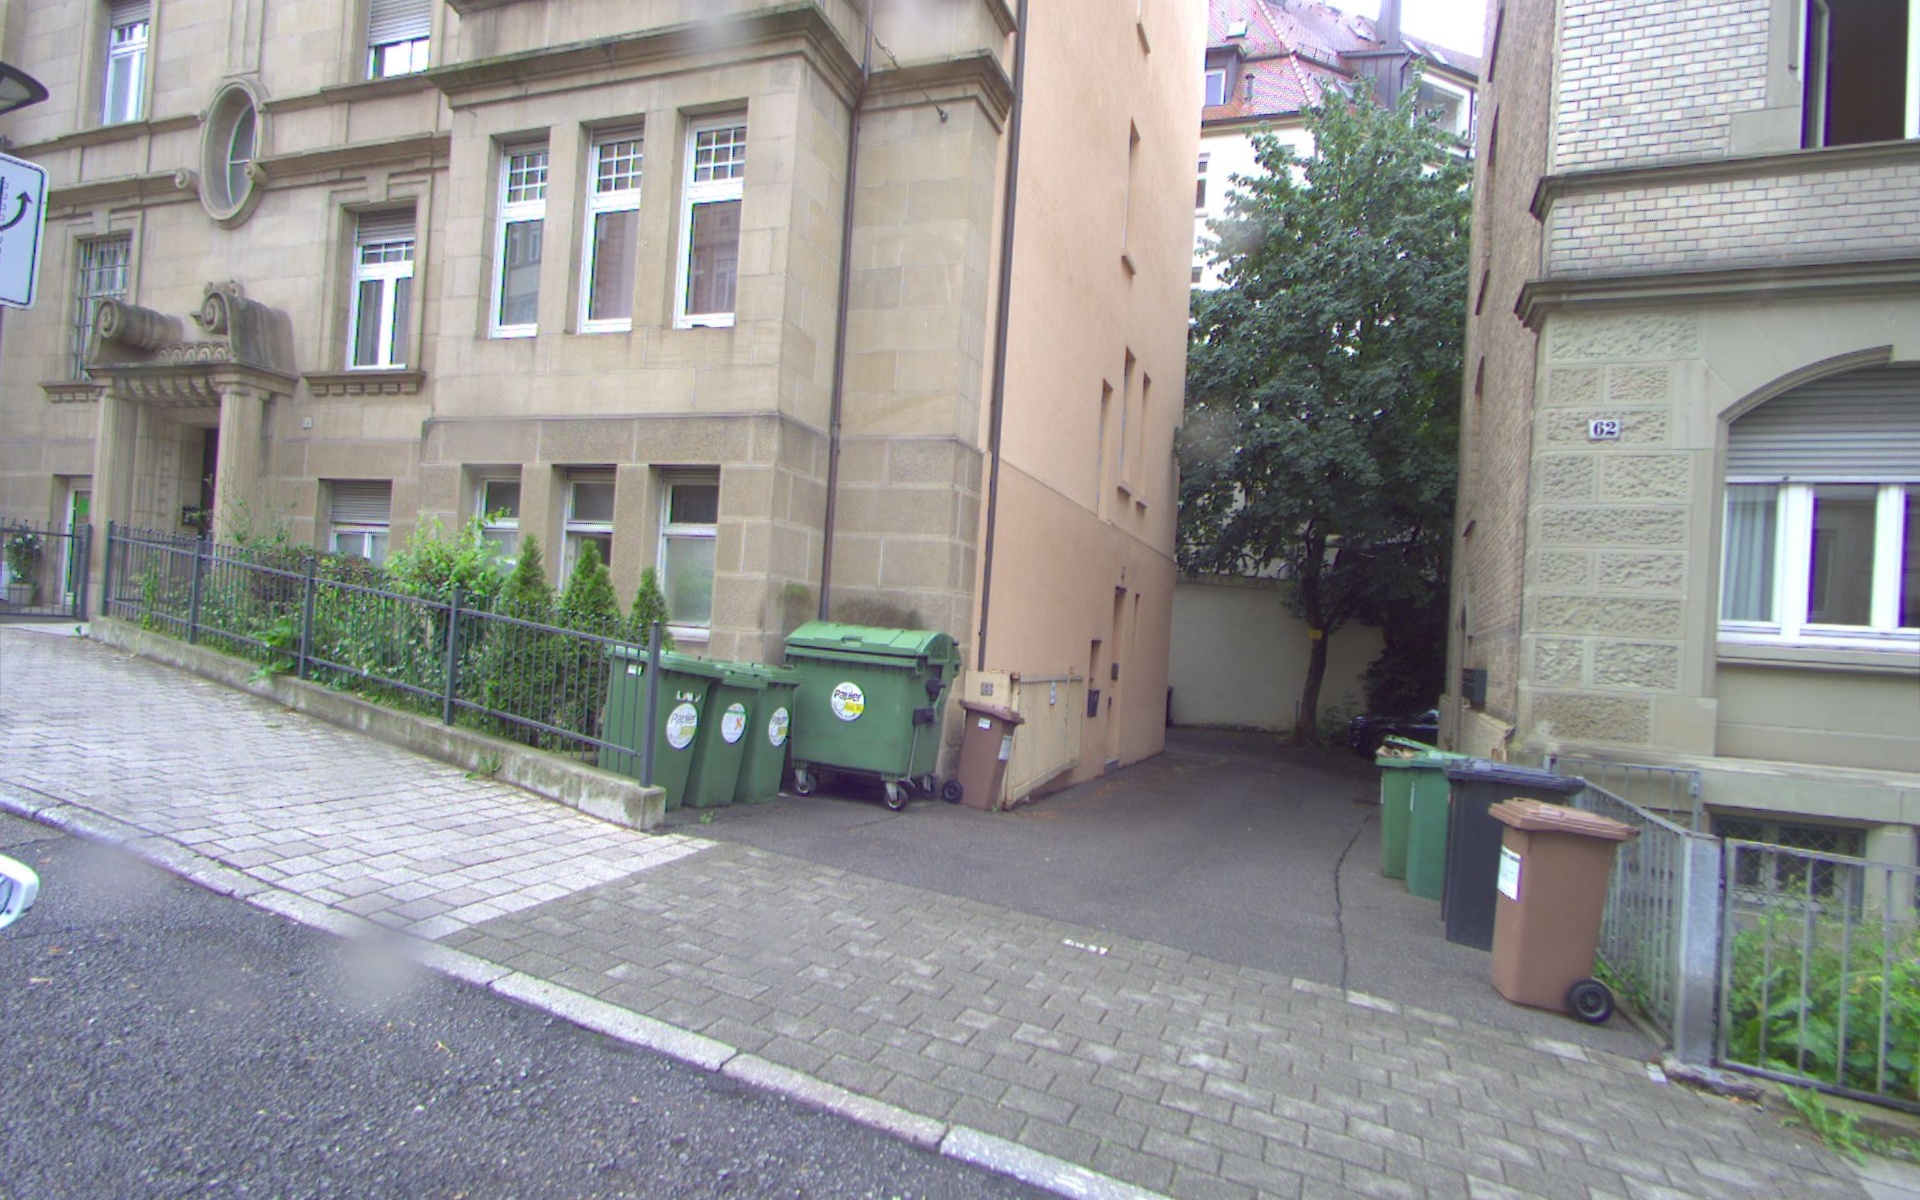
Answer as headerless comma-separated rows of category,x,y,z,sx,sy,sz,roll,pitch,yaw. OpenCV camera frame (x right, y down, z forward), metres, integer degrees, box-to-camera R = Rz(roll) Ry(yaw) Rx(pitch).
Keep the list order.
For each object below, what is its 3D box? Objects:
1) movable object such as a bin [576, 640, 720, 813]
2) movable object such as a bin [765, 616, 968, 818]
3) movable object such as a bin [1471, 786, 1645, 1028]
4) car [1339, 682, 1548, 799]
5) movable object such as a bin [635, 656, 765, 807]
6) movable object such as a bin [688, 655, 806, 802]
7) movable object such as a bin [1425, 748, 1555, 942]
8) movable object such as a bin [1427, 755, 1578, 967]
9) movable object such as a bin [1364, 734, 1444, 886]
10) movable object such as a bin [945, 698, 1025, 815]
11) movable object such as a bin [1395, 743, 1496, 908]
movable object such as a bin,-2.083,0.841,6.766,0.593,1.037,0.540,6,-4,20
movable object such as a bin,-0.761,0.968,8.488,1.256,1.447,0.976,6,-4,20
movable object such as a bin,2.798,1.416,4.750,0.527,0.932,0.427,7,2,20
car,10.980,3.117,22.983,3.930,1.530,1.796,13,5,28
movable object such as a bin,-1.878,0.948,7.308,0.593,0.978,0.540,6,-4,20
movable object such as a bin,-1.667,1.003,7.917,0.593,1.037,0.540,6,-4,20
movable object such as a bin,3.371,1.533,6.437,0.598,1.072,0.501,6,-3,24
movable object such as a bin,3.147,1.476,5.853,0.653,1.041,0.529,6,-4,30
movable object such as a bin,3.583,1.674,8.143,0.469,1.113,0.521,6,-3,23
movable object such as a bin,0.227,1.387,8.983,0.510,0.952,0.395,6,-4,20
movable object such as a bin,3.558,1.634,7.410,0.545,1.072,0.498,6,-3,24
